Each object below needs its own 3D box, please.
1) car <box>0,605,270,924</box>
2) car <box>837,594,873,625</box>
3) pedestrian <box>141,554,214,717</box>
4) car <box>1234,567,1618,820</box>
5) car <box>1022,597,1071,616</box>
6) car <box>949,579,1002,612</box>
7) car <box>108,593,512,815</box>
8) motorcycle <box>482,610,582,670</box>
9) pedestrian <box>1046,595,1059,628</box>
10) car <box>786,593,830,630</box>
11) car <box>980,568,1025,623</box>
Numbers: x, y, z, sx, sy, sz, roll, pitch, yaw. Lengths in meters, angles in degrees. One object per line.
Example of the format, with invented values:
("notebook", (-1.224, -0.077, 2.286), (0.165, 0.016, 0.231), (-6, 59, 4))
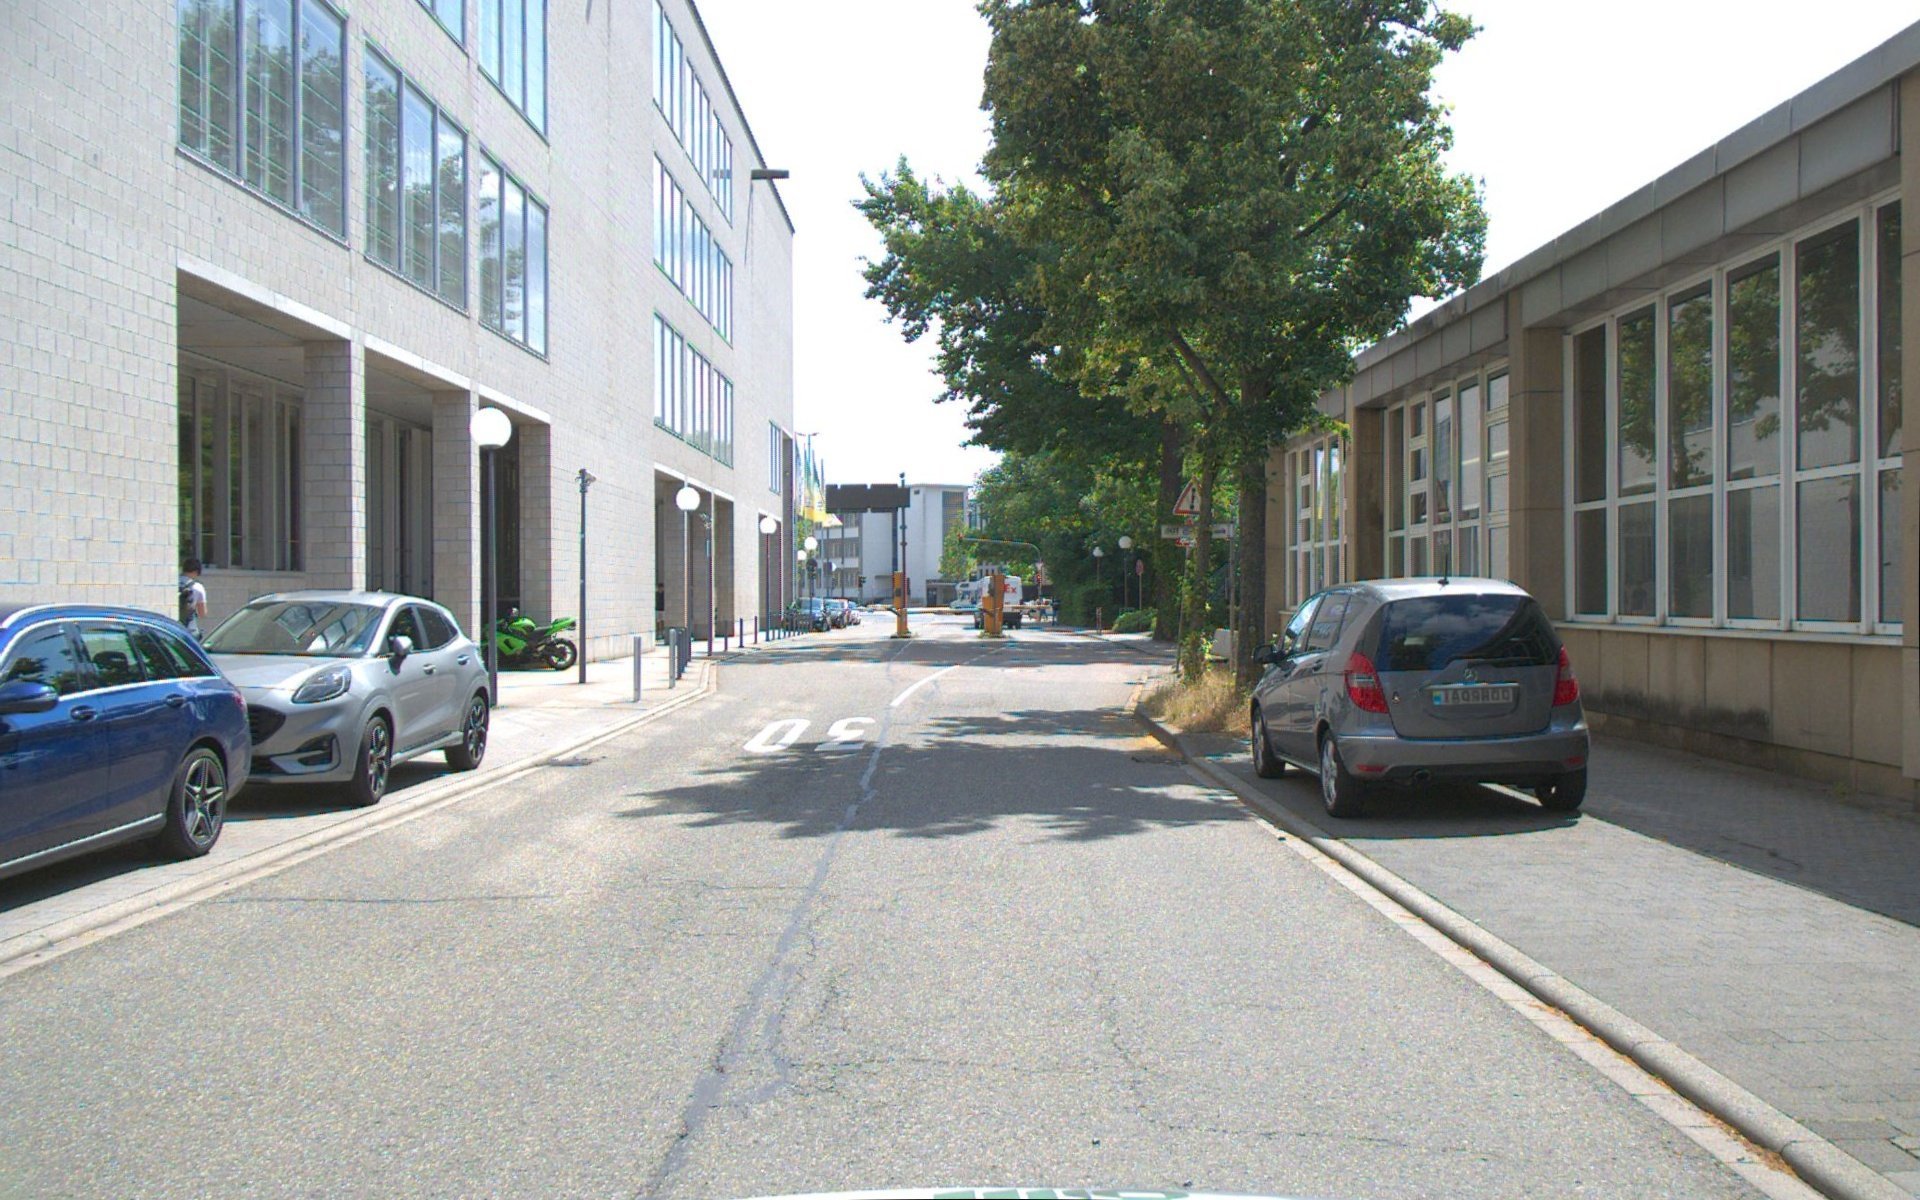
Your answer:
("car", (-5.211, 0.747, 8.175), (1.730, 1.452, 4.235), (0, 0, 1))
("car", (-5.388, 0.512, 85.278), (1.612, 1.524, 3.728), (0, -2, 0))
("pedestrian", (-9.172, 0.420, 19.401), (0.501, 1.873, 0.735), (0, -2, -1))
("car", (3.351, 0.604, 12.723), (1.820, 1.601, 4.000), (-1, 0, 0))
("car", (6.529, 0.480, 124.862), (3.652, 1.353, 1.667), (0, 0, 2))
("car", (1.301, -0.397, 140.526), (4.288, 2.787, 1.998), (0, 0, -5))
("car", (-5.022, 0.724, 13.429), (1.597, 1.511, 4.178), (0, 0, 0))
("motorcycle", (-8.284, 0.768, 32.036), (1.825, 1.124, 0.656), (0, 0, -21))
("pedestrian", (5.025, 0.624, 89.912), (0.646, 1.759, 0.635), (0, 0, -1))
("car", (-6.687, 0.522, 73.206), (1.612, 1.524, 3.728), (0, -2, 0))
("car", (2.054, -0.211, 81.290), (2.041, 2.584, 4.315), (1, 0, 0))
